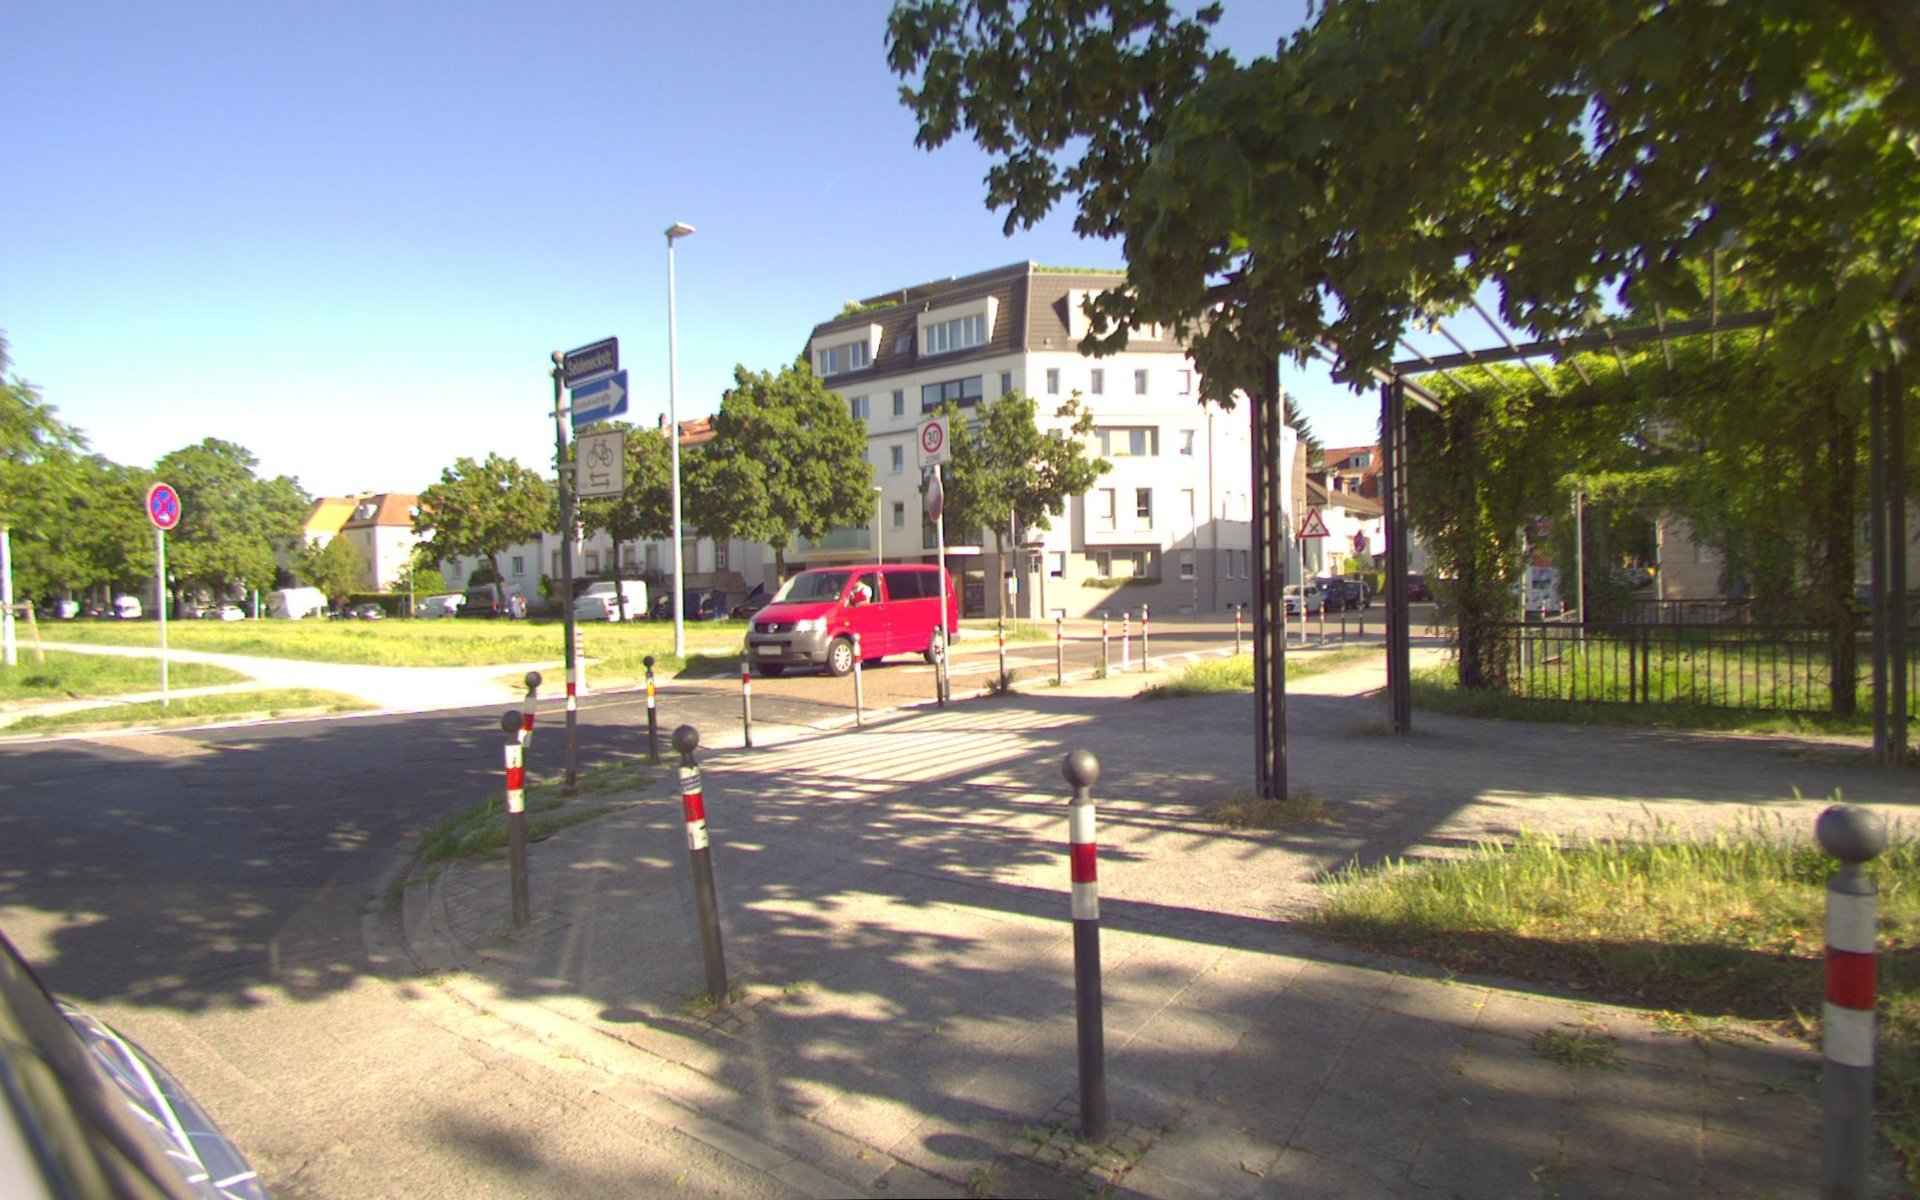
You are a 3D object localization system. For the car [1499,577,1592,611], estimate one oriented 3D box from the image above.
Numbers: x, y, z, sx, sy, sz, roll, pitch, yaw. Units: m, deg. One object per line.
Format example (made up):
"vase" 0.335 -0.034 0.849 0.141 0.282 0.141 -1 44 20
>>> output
"car" 28.227 -0.291 48.823 3.781 1.455 1.673 -2 0 34

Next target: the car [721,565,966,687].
"car" -2.002 0.398 18.962 1.891 1.975 4.831 -1 0 33

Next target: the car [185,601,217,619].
"car" -83.319 1.107 111.113 3.989 1.859 1.842 -1 0 38

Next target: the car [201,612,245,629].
"car" -67.387 1.827 92.515 4.721 1.477 2.055 -1 0 38

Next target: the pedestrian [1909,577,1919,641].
"pedestrian" 17.817 0.151 18.326 0.845 1.158 0.591 -1 0 38

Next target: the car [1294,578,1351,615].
"car" 19.251 -0.210 53.701 1.663 1.849 4.204 2 3 37

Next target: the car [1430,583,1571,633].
"car" 18.216 0.272 34.152 4.004 1.494 1.847 -1 4 34

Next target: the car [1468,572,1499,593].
"car" 49.016 -1.627 94.774 1.882 1.885 4.347 -1 0 37

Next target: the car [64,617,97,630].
"car" -103.865 2.745 119.480 4.721 1.477 2.055 -1 0 38

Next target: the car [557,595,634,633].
"car" -20.360 0.780 56.457 4.416 1.897 1.854 -1 4 37

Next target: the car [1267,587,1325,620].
"car" 16.680 0.146 50.122 1.663 1.459 3.643 2 3 36

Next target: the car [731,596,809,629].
"car" -10.652 0.697 56.542 4.283 1.695 1.872 -1 2 38

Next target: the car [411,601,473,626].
"car" -34.811 0.895 67.984 4.282 1.611 2.059 -1 0 38

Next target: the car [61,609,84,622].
"car" -129.799 2.278 148.011 3.989 1.859 1.842 -1 0 38

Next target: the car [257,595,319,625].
"car" -55.168 0.849 83.067 5.912 2.351 2.519 -1 0 38

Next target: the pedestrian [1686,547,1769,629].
"pedestrian" 16.739 -0.257 22.107 1.081 1.686 0.908 -5 -1 18

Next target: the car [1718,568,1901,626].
"car" 24.674 -0.073 29.605 3.894 1.494 1.847 -1 4 34

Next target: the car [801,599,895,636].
"car" -4.974 0.776 44.773 3.988 1.443 1.719 -1 4 37

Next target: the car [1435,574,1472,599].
"car" 40.049 -1.117 82.149 1.883 1.885 4.347 2 3 37

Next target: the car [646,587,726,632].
"car" -13.914 0.477 51.347 3.989 2.098 1.762 -1 4 38

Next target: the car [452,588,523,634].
"car" -29.647 0.687 63.430 4.282 2.603 2.166 -1 4 38

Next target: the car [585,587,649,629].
"car" -22.165 0.521 65.432 3.989 2.567 1.998 -1 2 38

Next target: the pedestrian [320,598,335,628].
"pedestrian" -40.568 0.849 64.904 0.628 1.891 0.636 -1 0 36

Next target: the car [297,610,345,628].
"car" -49.929 1.479 79.083 4.104 1.354 1.910 -1 0 38

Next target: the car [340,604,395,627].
"car" -43.747 1.155 74.712 4.282 1.611 2.059 -1 0 38

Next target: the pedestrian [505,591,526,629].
"pedestrian" -22.486 0.494 51.212 0.628 1.891 0.716 -1 0 36

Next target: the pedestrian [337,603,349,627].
"pedestrian" -39.837 0.954 65.332 0.534 1.516 0.490 -1 0 37

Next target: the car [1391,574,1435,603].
"car" 31.878 -0.843 71.133 1.883 1.885 4.347 2 3 37

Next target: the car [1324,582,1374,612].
"car" 22.345 -0.208 58.054 1.663 1.553 4.016 3 3 37

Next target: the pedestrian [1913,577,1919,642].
"pedestrian" 17.402 0.161 17.797 0.874 1.147 0.591 -1 0 38

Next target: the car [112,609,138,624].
"car" -107.810 2.159 130.644 3.989 1.859 1.842 -1 0 38
